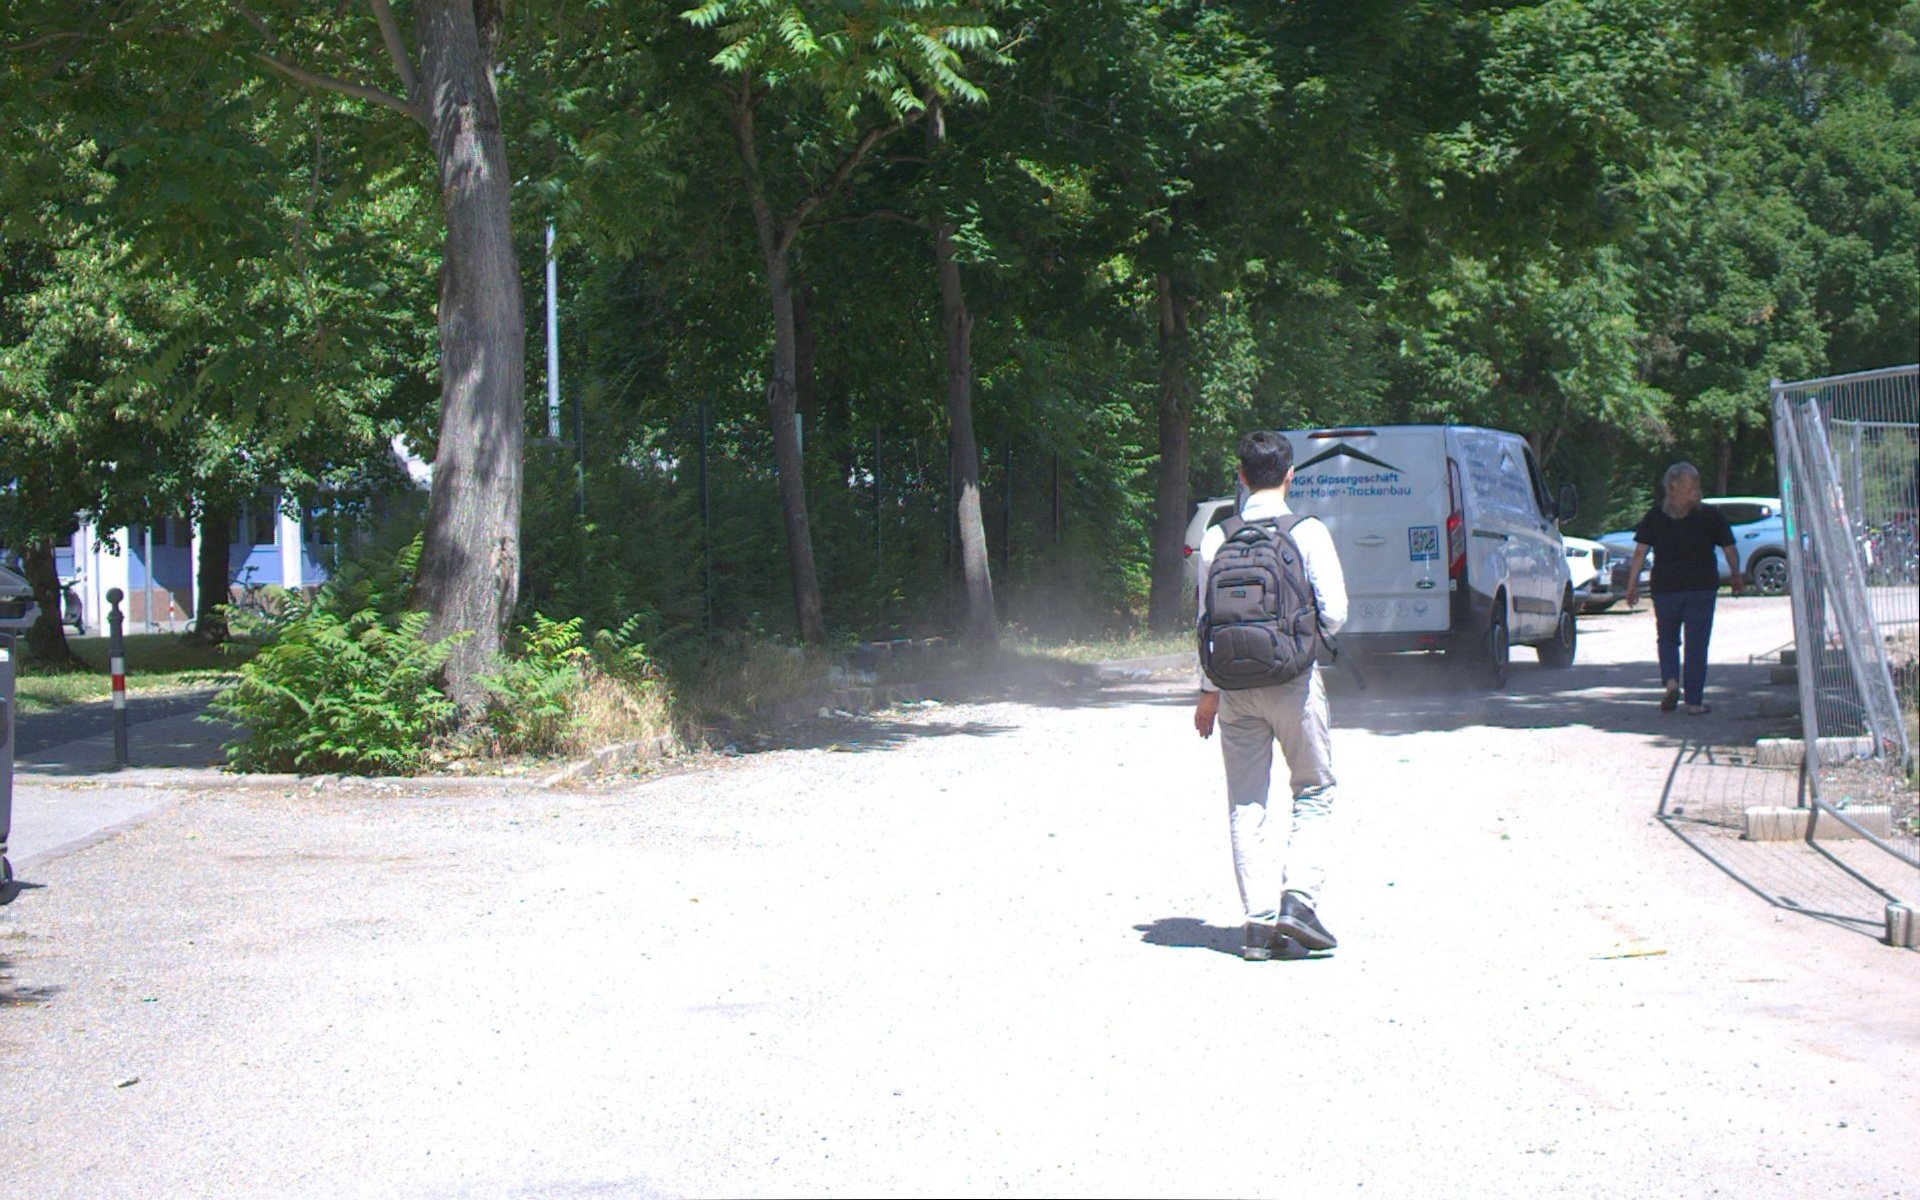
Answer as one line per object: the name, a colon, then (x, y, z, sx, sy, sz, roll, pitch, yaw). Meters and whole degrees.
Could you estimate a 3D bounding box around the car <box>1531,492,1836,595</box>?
car: (11.648, -0.910, 55.396, 4.512, 1.592, 1.723, 0, 2, 27)

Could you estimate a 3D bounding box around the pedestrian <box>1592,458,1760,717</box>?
pedestrian: (4.689, -0.096, 22.532, 1.036, 1.644, 1.048, -1, 2, 12)

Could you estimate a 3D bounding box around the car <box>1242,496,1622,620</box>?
car: (6.048, -0.546, 44.134, 4.512, 1.526, 1.723, 0, 2, 27)

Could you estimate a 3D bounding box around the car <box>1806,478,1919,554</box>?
car: (20.704, -1.824, 74.140, 4.512, 1.592, 1.723, 0, 2, 27)

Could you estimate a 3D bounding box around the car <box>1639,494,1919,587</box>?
car: (14.424, -1.047, 60.473, 4.512, 1.592, 1.934, 0, 2, 27)

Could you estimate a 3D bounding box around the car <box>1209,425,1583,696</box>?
car: (3.536, -0.344, 27.079, 1.975, 1.940, 4.577, 0, 2, 20)

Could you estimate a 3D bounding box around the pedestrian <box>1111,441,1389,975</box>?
pedestrian: (1.002, 0.335, 11.660, 0.874, 1.723, 1.080, -1, 2, 7)

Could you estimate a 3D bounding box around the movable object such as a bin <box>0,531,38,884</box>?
movable object such as a bin: (-4.479, 0.435, 13.748, 1.113, 1.389, 1.160, -2, 2, -40)

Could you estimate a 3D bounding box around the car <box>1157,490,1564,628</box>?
car: (4.869, -0.479, 41.895, 4.512, 1.604, 1.997, 0, 0, 28)

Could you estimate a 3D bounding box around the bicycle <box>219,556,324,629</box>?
bicycle: (-10.988, -0.130, 54.921, 0.600, 1.080, 1.937, 3, 3, 25)
